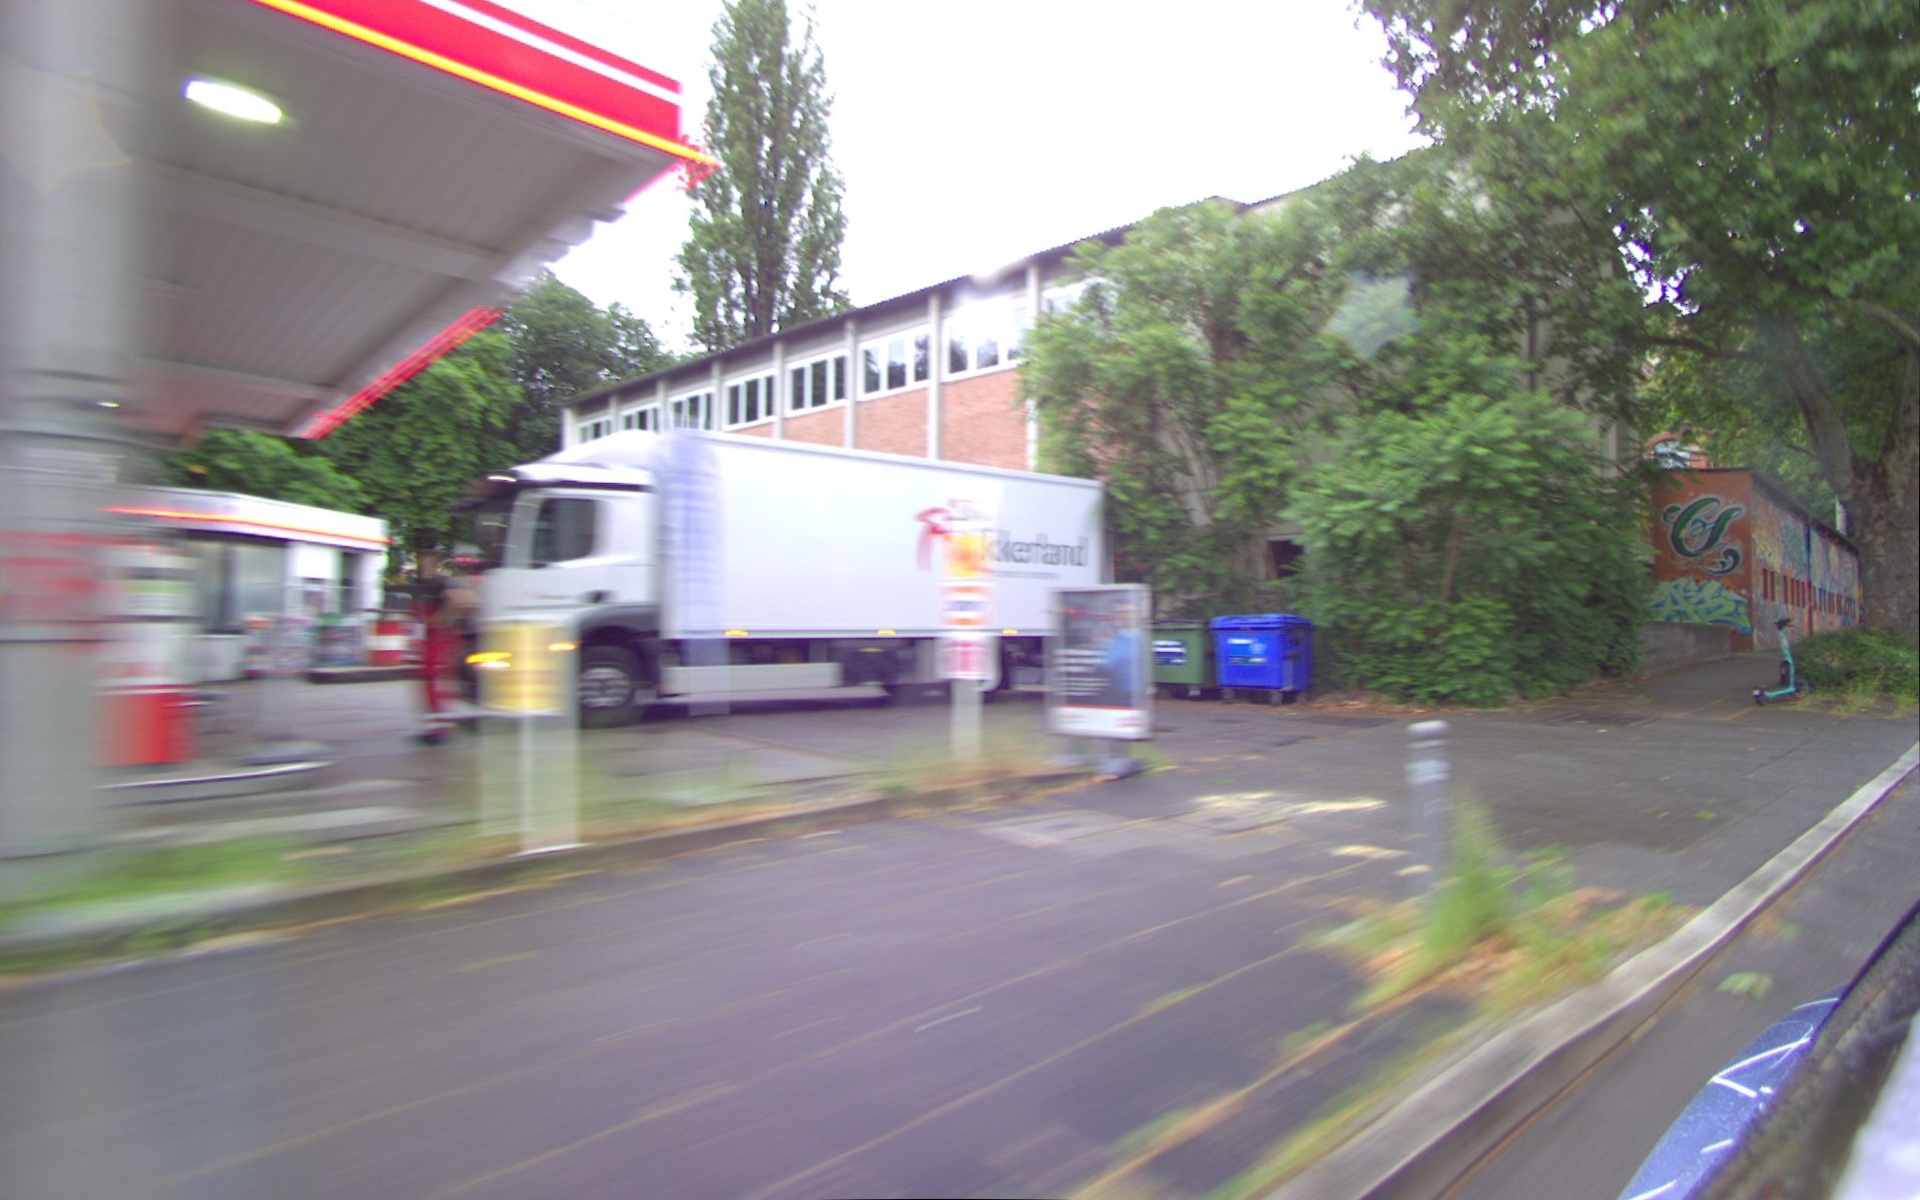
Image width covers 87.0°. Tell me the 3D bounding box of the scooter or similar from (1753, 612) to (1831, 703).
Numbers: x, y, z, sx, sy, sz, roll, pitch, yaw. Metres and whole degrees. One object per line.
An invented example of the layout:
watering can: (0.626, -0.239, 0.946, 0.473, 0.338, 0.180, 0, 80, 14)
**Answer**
scooter or similar: (12.121, 0.812, 14.734, 1.336, 1.207, 0.401, -3, 1, -29)

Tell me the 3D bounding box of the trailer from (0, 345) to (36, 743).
trailer: (-12.537, -0.450, 6.509, 9.676, 3.439, 2.806, -1, 0, -45)

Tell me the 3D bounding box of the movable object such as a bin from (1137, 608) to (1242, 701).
movable object such as a bin: (3.719, 0.849, 16.407, 1.054, 1.418, 1.285, 1, 0, -40)

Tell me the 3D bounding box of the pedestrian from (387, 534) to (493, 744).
pedestrian: (-5.374, 0.381, 10.461, 0.804, 2.066, 0.644, 0, -1, 31)

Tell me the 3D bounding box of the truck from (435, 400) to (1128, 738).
truck: (-1.941, -0.371, 14.985, 10.069, 3.614, 2.660, -1, 0, -38)
